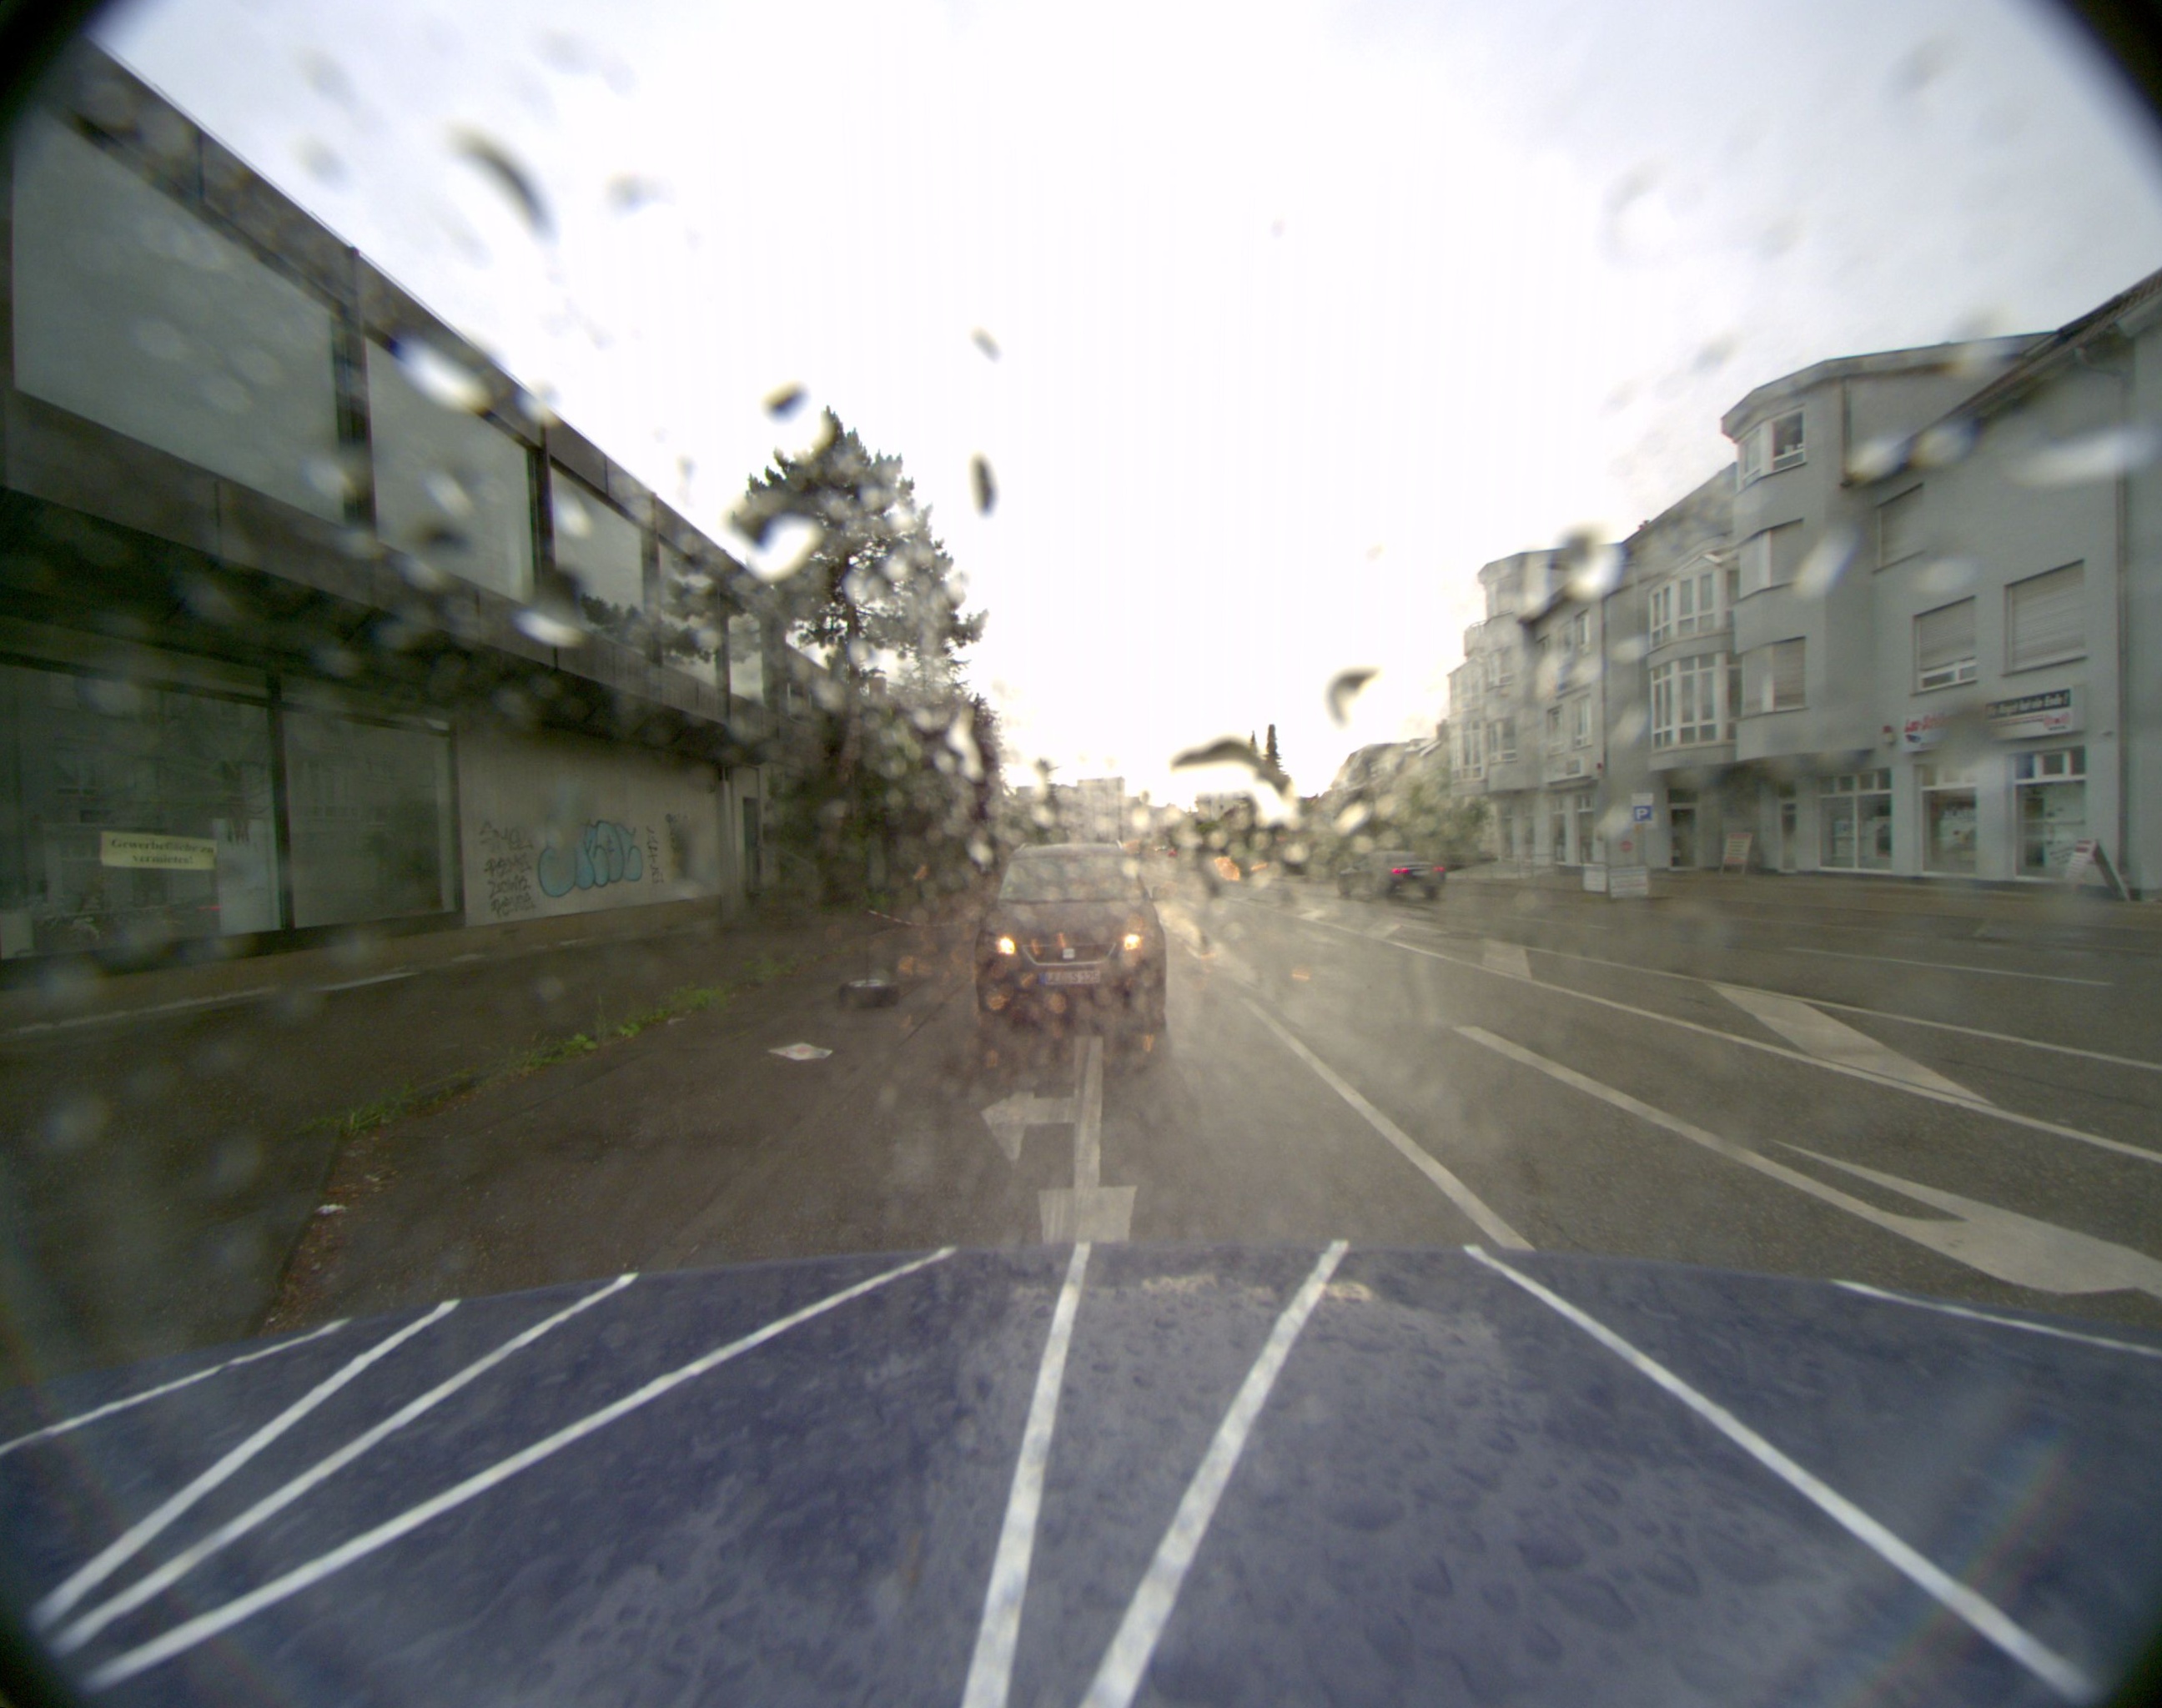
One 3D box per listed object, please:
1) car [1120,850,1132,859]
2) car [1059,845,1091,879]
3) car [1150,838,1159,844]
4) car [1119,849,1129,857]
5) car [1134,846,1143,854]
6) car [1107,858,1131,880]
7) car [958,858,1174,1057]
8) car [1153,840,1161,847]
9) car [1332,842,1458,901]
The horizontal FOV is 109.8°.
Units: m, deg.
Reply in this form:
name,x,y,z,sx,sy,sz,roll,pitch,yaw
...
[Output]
name,x,y,z,sx,sy,sz,roll,pitch,yaw
car,8.886,0.024,150.292,1.998,1.723,3.999,-2,1,1
car,-0.352,0.475,50.417,1.998,2.072,3.999,-2,1,1
car,23.392,-4.076,241.874,1.996,1.808,4.003,-2,1,14
car,9.846,-0.149,175.437,1.998,1.774,4.000,-2,1,1
car,15.612,-1.088,205.854,1.997,1.808,4.002,-2,1,8
car,3.126,1.209,63.181,1.803,1.675,3.999,-2,1,1
car,-0.091,0.872,8.622,1.754,1.534,4.676,-1,1,1
car,22.860,-3.246,228.722,1.997,2.002,4.002,-2,1,8
car,9.814,0.481,24.163,1.999,1.615,4.538,-2,1,-1
